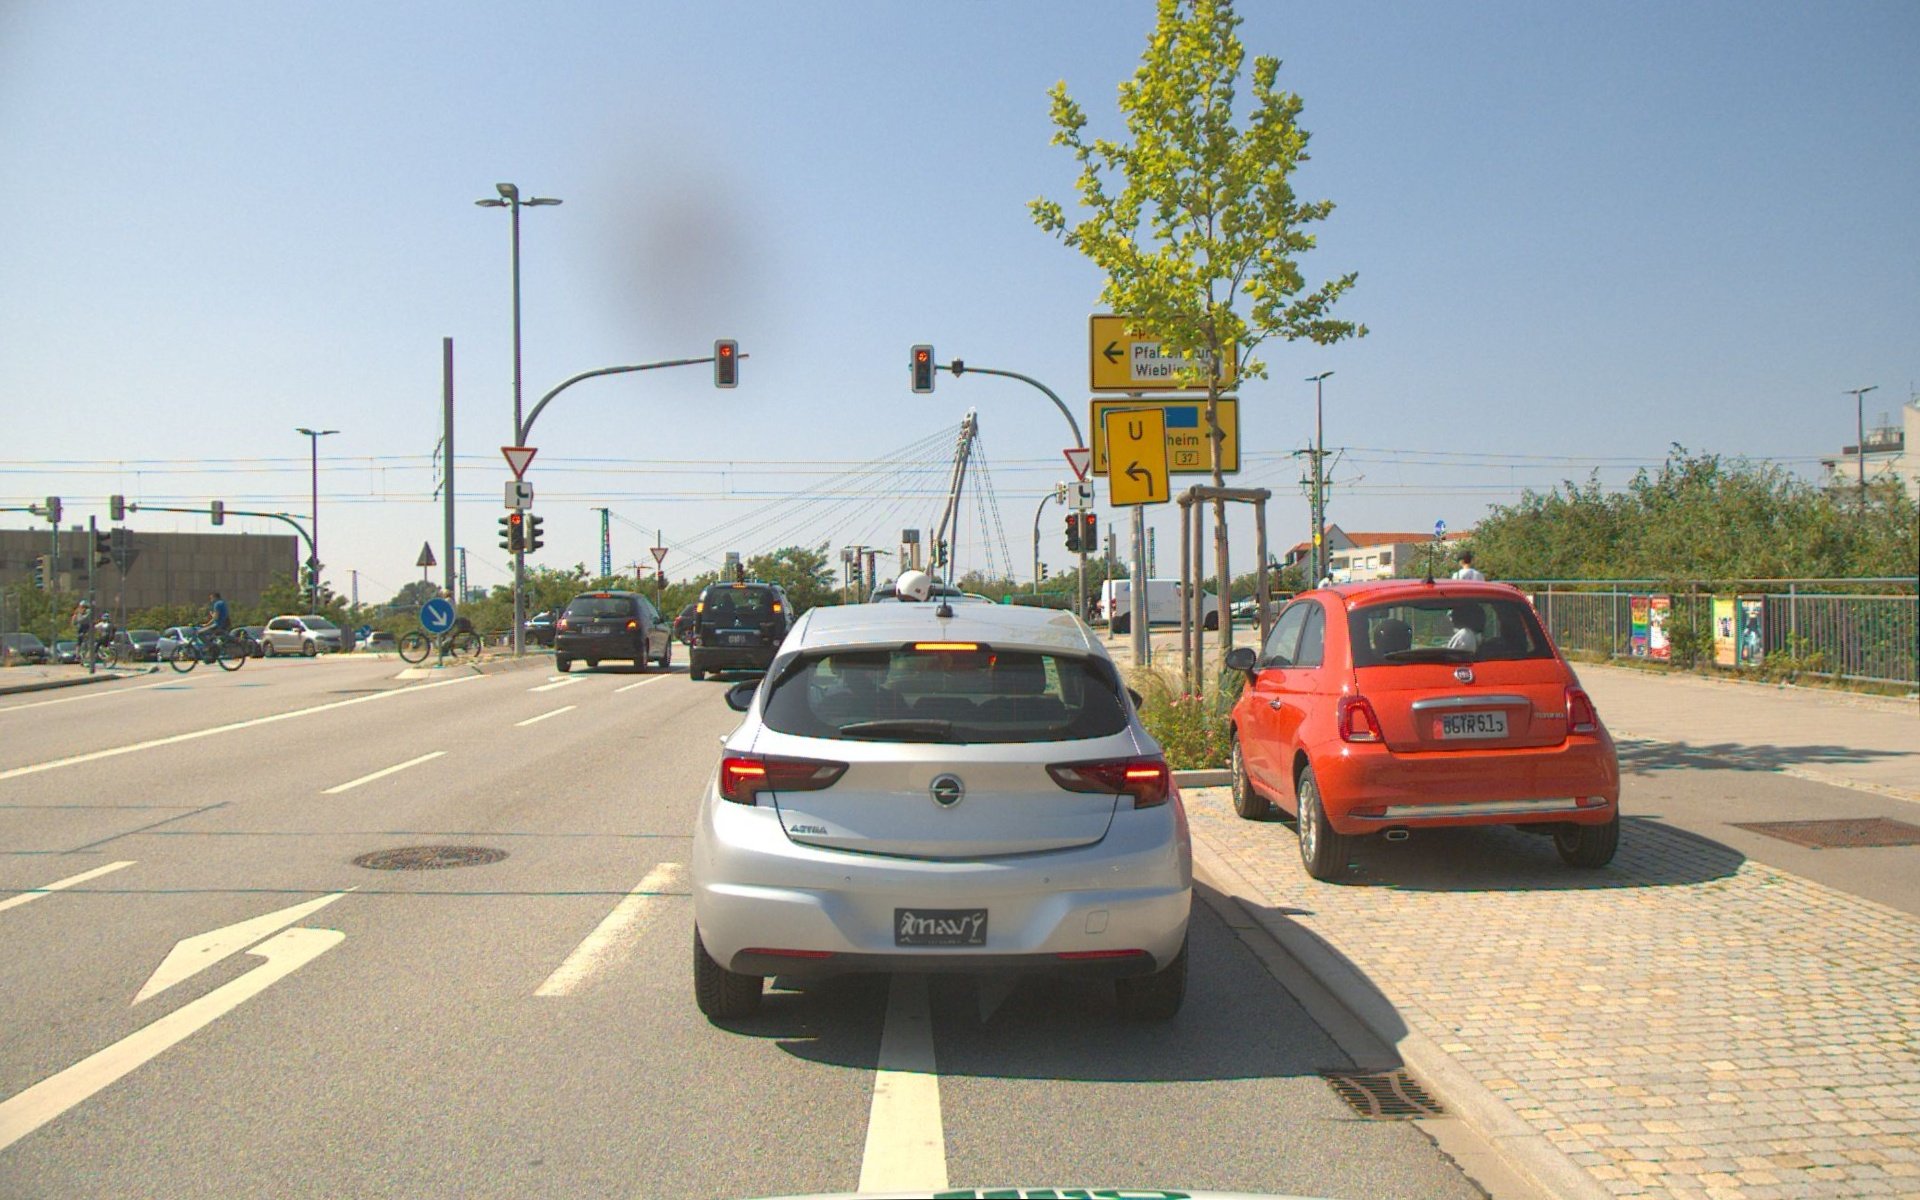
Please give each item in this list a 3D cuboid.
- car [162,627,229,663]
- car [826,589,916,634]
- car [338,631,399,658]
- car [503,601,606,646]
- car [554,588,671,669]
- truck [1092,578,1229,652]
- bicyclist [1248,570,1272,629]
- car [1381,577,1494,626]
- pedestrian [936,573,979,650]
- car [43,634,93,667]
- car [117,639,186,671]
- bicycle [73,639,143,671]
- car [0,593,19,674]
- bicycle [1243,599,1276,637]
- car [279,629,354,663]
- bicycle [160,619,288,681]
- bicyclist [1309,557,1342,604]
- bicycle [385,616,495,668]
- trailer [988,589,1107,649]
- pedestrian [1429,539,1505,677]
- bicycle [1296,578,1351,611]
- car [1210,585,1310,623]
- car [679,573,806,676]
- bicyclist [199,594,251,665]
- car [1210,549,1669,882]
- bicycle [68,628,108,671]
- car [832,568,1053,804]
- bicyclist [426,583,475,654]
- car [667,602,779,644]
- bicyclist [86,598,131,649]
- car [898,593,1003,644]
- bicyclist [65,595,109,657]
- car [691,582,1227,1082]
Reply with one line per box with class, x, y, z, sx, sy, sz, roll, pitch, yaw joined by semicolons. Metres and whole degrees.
car;-32.942;1.916;71.229;3.099;1.464;1.576;0;-1;43
car;-4.123;0.531;76.341;3.919;2.049;1.993;0;-1;-14
car;-30.726;2.318;85.904;3.158;1.327;1.518;0;-1;36
car;-15.795;0.906;64.556;3.432;1.669;1.801;1;-1;7
car;-6.405;0.521;30.796;1.555;1.419;3.338;0;-1;-2
truck;7.348;0.553;60.808;4.610;2.585;1.994;1;-1;-12
bicyclist;9.721;-0.014;53.621;0.622;1.920;0.595;0;-1;24
car;18.928;0.071;65.621;3.974;1.846;1.920;1;-1;-21
pedestrian;-0.057;0.289;41.352;0.735;1.896;0.743;2;-1;-41
car;-50.056;2.819;92.787;1.701;1.771;4.153;2;-1;-39
car;-41.078;2.775;83.965;1.983;1.481;4.417;2;-1;-42
bicycle;-20.227;1.306;39.235;2.207;0.704;0.514;0;-1;35
car;-25.740;0.844;43.497;1.653;2.049;3.959;2;-1;-30
bicycle;9.742;0.585;53.728;0.542;1.198;2.087;2;0;24
car;-24.904;1.773;64.061;2.424;1.262;1.280;0;-1;16
bicycle;-16.763;1.132;37.707;2.478;1.153;0.727;-5;2;-9
bicyclist;12.927;-0.685;58.469;0.759;1.638;0.945;1;-1;-16
bicycle;-11.979;0.969;38.175;2.314;1.147;0.676;1;-1;-9
trailer;3.147;0.707;59.875;3.917;2.049;1.994;1;-1;-13
pedestrian;6.982;0.114;22.822;0.743;1.862;0.884;1;-1;-1
bicycle;12.838;-0.189;58.433;1.835;1.087;0.575;1;-1;-15
car;14.056;0.216;77.436;4.180;1.703;1.990;1;-1;-18
car;-3.704;0.421;28.692;1.767;1.650;3.915;0;-1;-2
bicyclist;-16.751;0.678;37.704;0.806;1.587;0.862;1;-1;-7
car;2.641;0.584;10.052;1.635;1.567;3.916;-2;-1;0
bicycle;-21.948;1.227;41.655;0.595;1.025;2.496;0;0;-21
car;-0.177;0.661;14.133;1.602;1.703;3.743;1;-1;-2
bicyclist;-11.768;0.424;38.221;0.928;1.596;0.821;1;-1;-9
car;-8.525;0.815;59.663;3.695;1.414;1.667;1;-1;4
bicyclist;-20.204;0.546;39.242;0.645;1.196;0.729;-1;-1;33
car;-0.363;0.709;62.736;3.906;1.815;1.999;1;-1;-1
bicyclist;-21.932;0.651;41.561;0.827;1.528;0.656;1;-1;-17
car;-0.050;0.729;7.283;1.656;1.546;4.269;0;0;-1
